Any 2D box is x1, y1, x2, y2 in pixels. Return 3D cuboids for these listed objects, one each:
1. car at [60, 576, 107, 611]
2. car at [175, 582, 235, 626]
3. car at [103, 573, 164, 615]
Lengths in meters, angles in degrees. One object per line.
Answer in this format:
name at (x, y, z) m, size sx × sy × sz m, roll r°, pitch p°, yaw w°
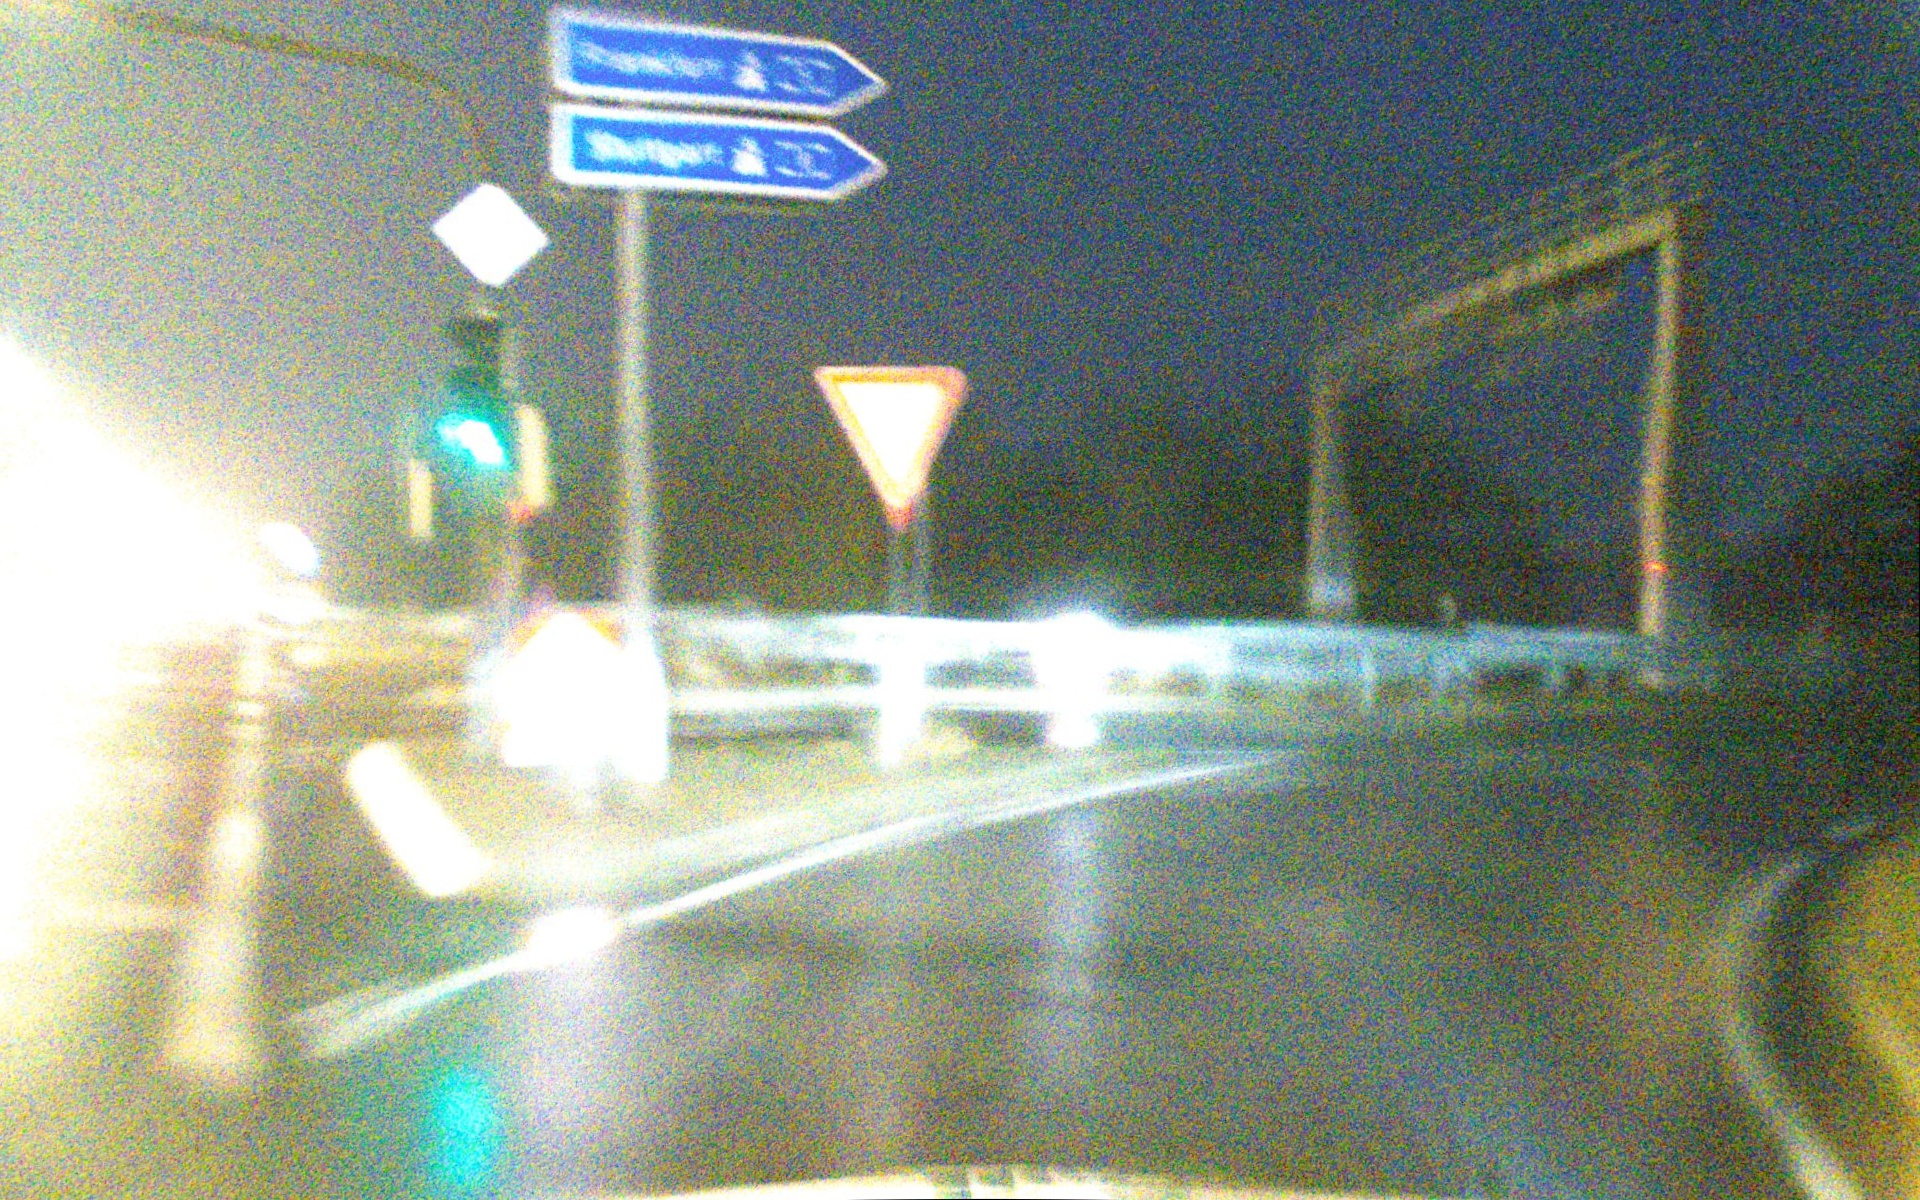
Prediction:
car at (-49.292, -0.341, 93.065) m, size 2.152 × 1.629 × 3.964 m, roll 6°, pitch -4°, yaw -27°
car at (-32.978, 0.203, 72.326) m, size 1.882 × 1.629 × 3.976 m, roll 5°, pitch -4°, yaw -19°
car at (-38.553, -0.254, 77.249) m, size 2.148 × 1.629 × 3.972 m, roll 5°, pitch -4°, yaw -22°
